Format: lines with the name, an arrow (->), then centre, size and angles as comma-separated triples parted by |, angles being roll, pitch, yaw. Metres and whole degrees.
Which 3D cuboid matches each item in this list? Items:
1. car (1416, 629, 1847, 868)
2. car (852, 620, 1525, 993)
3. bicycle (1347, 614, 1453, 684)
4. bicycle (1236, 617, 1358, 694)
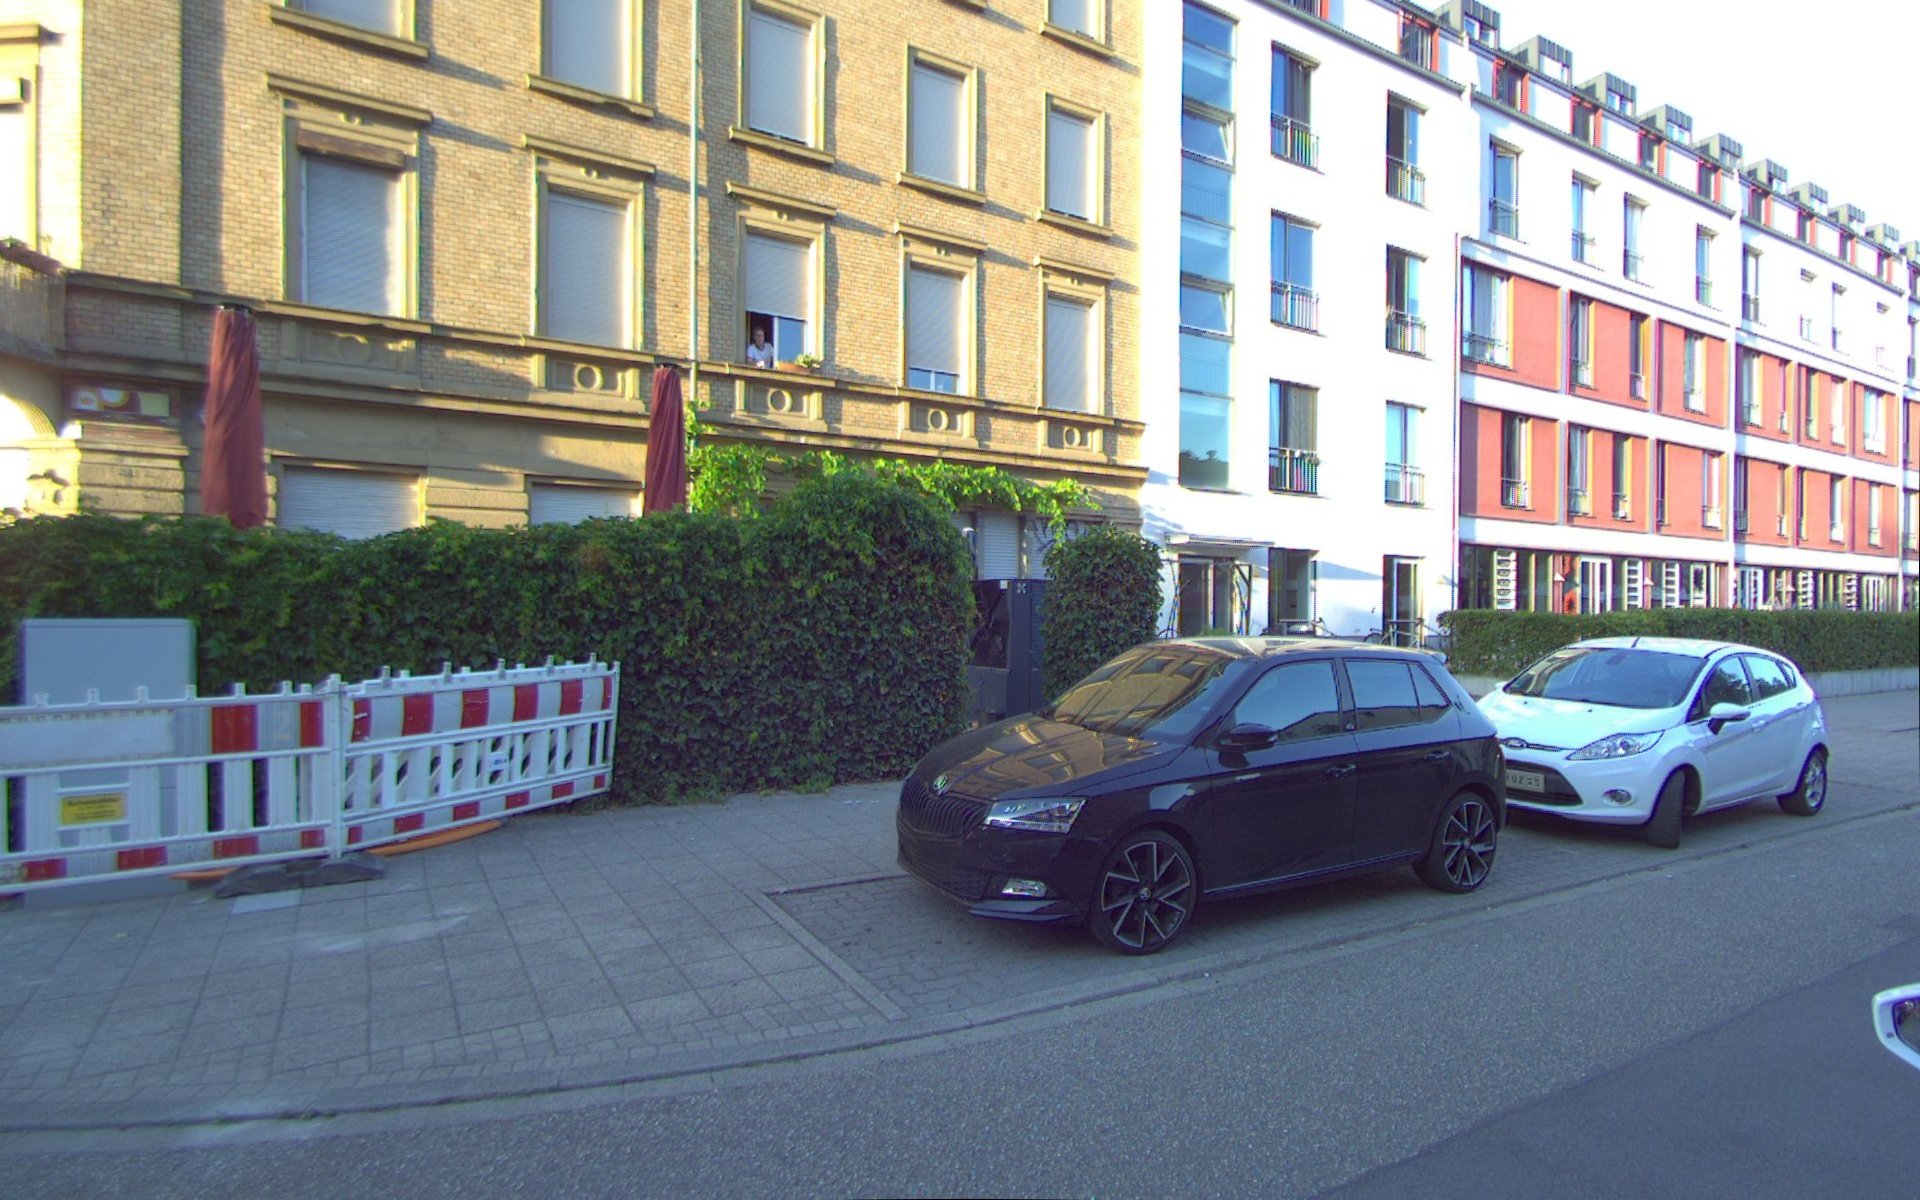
car -> 5.792, 1.046, 8.528 | 3.975, 1.550, 1.641 | 1, 0, -34
car -> 1.439, 0.924, 5.990 | 3.799, 1.554, 1.695 | 1, 0, -31
bicycle -> 7.967, 0.857, 18.261 | 0.602, 1.163, 1.769 | 1, 1, -27
bicycle -> 5.681, 0.905, 17.037 | 0.802, 1.157, 1.907 | 1, 1, -29
